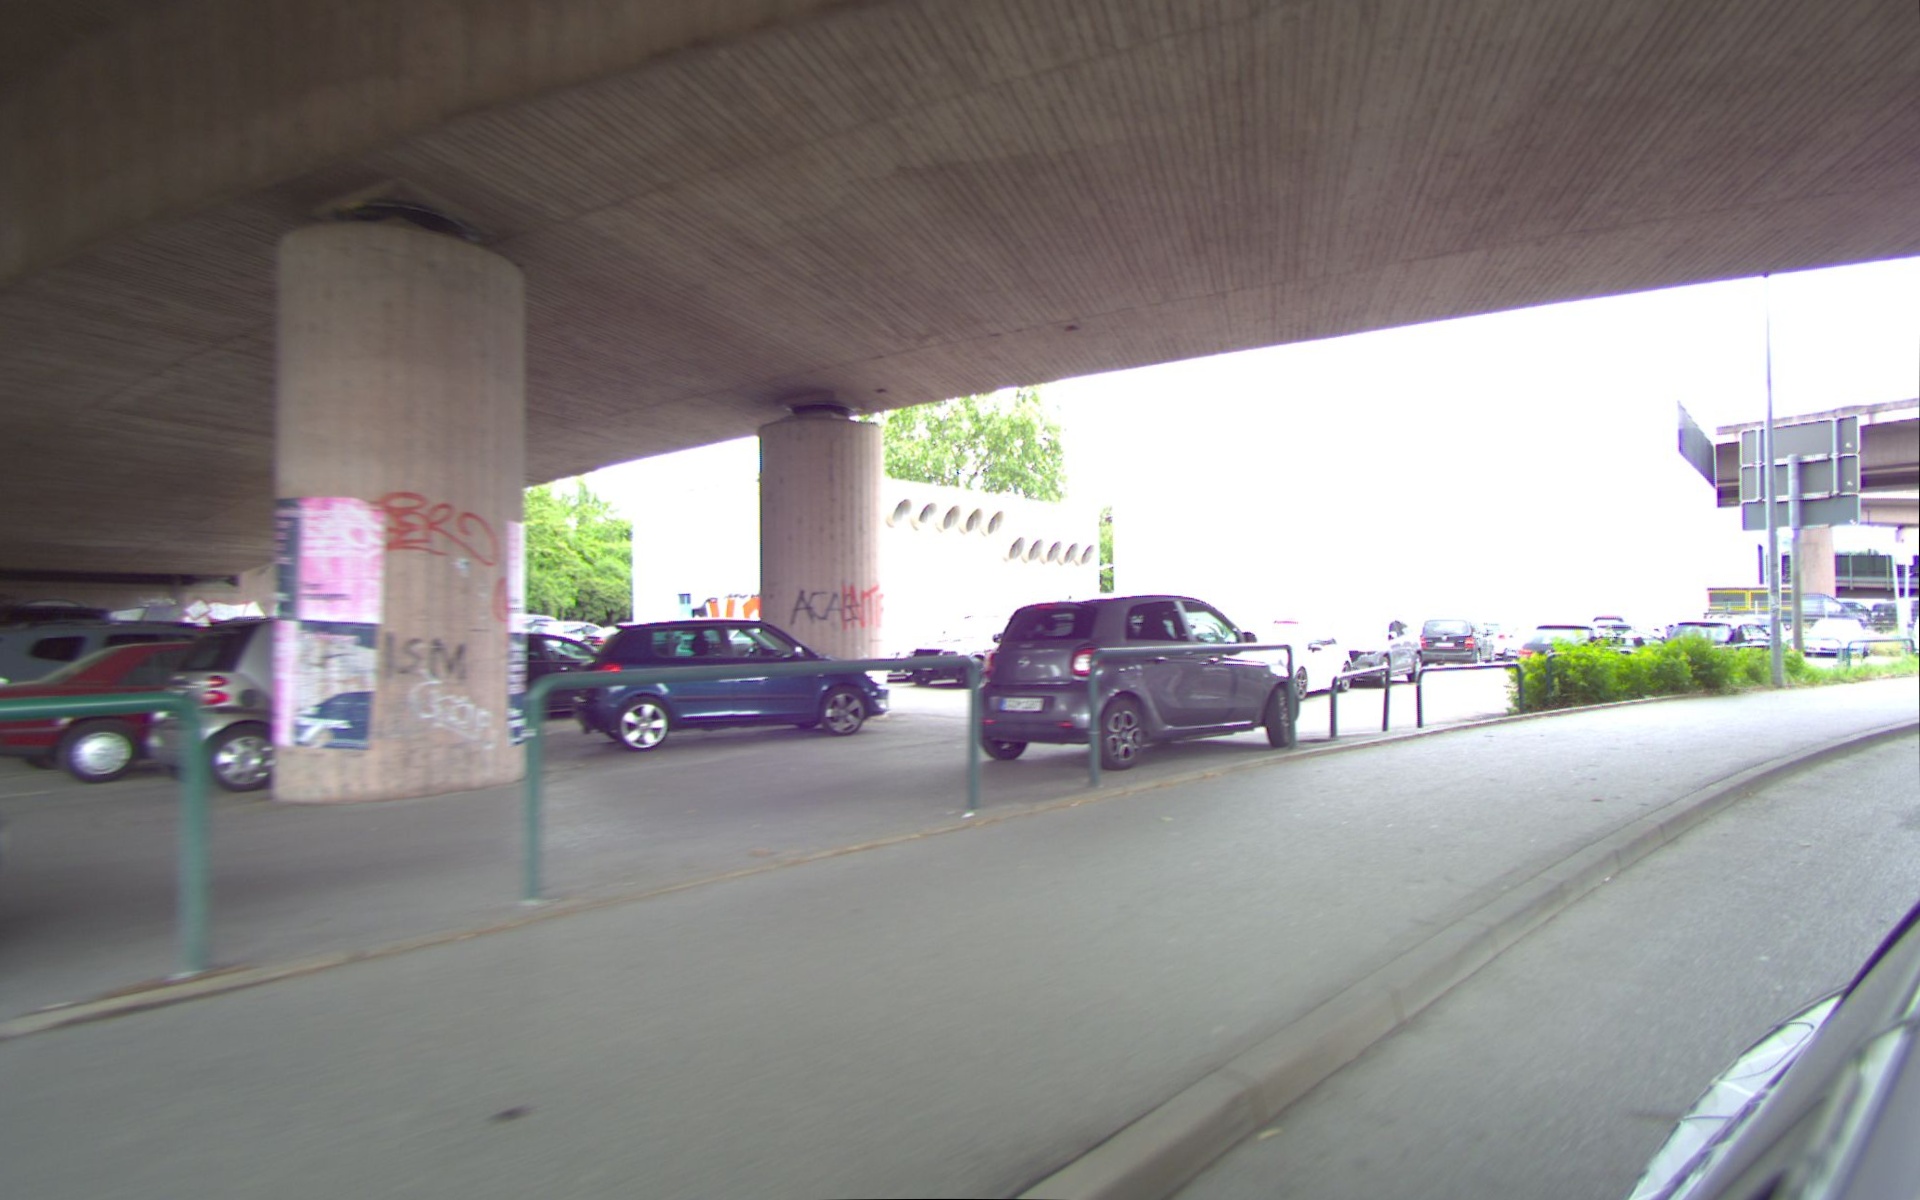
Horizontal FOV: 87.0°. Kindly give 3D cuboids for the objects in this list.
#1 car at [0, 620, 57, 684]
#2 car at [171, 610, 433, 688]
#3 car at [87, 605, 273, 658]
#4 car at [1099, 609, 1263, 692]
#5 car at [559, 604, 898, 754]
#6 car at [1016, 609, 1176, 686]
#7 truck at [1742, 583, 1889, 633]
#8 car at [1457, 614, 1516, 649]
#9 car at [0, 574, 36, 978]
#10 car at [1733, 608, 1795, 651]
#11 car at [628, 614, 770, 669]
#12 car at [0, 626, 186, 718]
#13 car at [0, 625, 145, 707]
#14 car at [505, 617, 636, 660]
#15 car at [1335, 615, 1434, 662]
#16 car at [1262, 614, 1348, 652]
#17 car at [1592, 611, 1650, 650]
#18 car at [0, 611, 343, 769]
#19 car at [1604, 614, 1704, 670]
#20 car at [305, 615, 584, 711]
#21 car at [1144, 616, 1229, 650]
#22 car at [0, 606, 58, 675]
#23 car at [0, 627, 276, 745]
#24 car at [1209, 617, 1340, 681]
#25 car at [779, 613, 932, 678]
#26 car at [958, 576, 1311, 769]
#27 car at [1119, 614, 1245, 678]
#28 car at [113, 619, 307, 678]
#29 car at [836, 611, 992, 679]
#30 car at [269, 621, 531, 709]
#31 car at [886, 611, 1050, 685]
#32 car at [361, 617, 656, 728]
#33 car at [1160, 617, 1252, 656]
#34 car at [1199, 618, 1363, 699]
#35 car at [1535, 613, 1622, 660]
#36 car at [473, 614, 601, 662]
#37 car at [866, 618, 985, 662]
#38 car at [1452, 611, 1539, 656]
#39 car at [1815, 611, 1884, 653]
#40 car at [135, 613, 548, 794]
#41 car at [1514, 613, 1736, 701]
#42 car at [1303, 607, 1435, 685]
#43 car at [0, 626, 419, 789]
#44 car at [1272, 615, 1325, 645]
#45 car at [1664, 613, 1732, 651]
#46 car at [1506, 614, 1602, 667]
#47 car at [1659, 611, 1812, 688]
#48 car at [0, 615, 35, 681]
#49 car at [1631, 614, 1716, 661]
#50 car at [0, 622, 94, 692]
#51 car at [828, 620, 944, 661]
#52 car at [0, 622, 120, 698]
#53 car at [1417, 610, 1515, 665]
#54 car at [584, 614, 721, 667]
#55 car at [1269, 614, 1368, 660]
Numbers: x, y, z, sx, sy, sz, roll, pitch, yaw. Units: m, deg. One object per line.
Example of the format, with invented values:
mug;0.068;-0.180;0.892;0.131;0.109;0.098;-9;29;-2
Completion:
car;-23.019;1.207;22.925;1.670;1.445;3.611;-1;-1;39
car;-15.986;1.108;24.846;2.080;1.699;5.034;-1;-1;39
car;-23.287;0.893;30.351;1.829;1.484;4.133;-1;-1;39
car;4.849;1.003;21.839;1.829;1.613;4.133;-1;-1;39
car;-2.885;0.886;12.671;3.781;1.526;1.793;-2;-1;-28
car;3.232;1.026;23.528;1.829;1.613;4.133;-1;-1;39
truck;54.211;0.536;64.267;3.001;2.970;6.910;1;-2;-45
car;24.066;1.396;46.206;1.765;1.475;4.304;-1;0;36
car;-5.211;0.646;3.039;3.517;1.415;1.608;0;-3;-41
car;32.340;1.150;40.669;1.768;1.608;4.296;-1;-1;41
car;-8.272;1.272;32.356;1.829;1.613;4.133;-1;-1;39
car;-15.828;1.194;17.305;1.829;1.445;3.807;-1;-1;39
car;-17.874;1.213;18.925;1.829;1.445;3.807;-1;-1;39
car;-14.182;1.366;37.039;1.829;1.427;4.133;-1;-1;39
car;14.333;1.246;34.006;1.849;1.462;4.554;-1;-1;39
car;14.204;1.324;41.547;1.831;1.444;4.375;-1;-1;41
car;28.494;1.280;43.607;1.617;1.564;3.050;-1;-1;42
car;-10.292;1.009;12.876;1.829;1.720;3.807;-1;-1;39
car;20.368;1.162;29.626;1.850;1.494;4.616;-1;-1;41
car;-9.149;1.031;18.251;1.829;1.484;4.133;-1;-1;39
car;10.120;1.429;45.036;1.831;1.444;4.375;-1;-1;41
car;-26.238;1.067;26.542;1.874;1.811;3.611;-1;-1;39
car;-12.166;1.134;14.301;1.829;1.445;3.807;-1;-1;39
car;8.196;1.201;26.102;1.747;1.467;4.396;-1;-1;39
car;-2.804;1.187;27.850;1.829;1.613;4.133;-1;-1;39
car;1.786;0.620;9.893;3.350;1.553;1.608;0;-3;-41
car;6.084;1.173;27.454;1.748;1.577;4.030;-1;-1;39
car;-21.278;1.320;28.855;1.829;1.484;4.133;-1;-1;39
car;-1.123;1.099;26.419;1.829;1.613;4.133;-1;-1;39
car;-10.860;1.177;19.873;1.829;1.484;4.133;-1;-1;39
car;0.282;1.082;24.588;1.829;1.613;4.133;-1;-1;39
car;-7.361;1.092;16.851;1.829;1.570;4.133;-1;-1;39
car;9.548;1.375;39.085;1.776;1.410;4.372;-1;-1;39
car;6.617;1.104;20.622;1.829;1.439;4.133;-1;-1;39
car;21.607;1.219;35.273;1.831;1.533;4.433;-1;-1;41
car;-16.008;1.395;38.436;1.829;1.710;4.133;-1;-1;39
car;-1.088;1.291;33.819;1.700;1.322;4.201;-1;-1;39
car;19.717;1.193;37.183;1.831;1.533;4.433;-1;-1;41
car;34.341;1.182;39.022;1.770;1.475;4.482;-1;-1;44
car;-6.213;0.934;10.428;1.522;1.519;3.327;-4;-3;39
car;12.853;1.021;19.522;4.163;1.498;1.737;0;-1;-27
car;9.855;1.023;24.221;1.736;1.696;4.407;-1;-1;39
car;-8.725;1.089;11.394;1.831;1.489;4.311;-3;-2;43
car;17.629;1.530;52.573;1.488;1.478;4.011;-1;-1;36
car;30.107;1.259;41.245;1.769;1.401;4.294;-1;-1;42
car;18.359;1.186;31.175;1.849;1.494;4.620;-1;-1;39
car;16.390;1.004;21.405;2.704;1.498;1.546;0;-1;-27
car;-24.782;1.176;24.278;1.670;1.619;3.611;-1;-1;39
car;23.775;1.198;33.675;1.831;1.444;4.375;-1;-1;41
car;-20.913;1.210;21.491;1.670;1.445;3.611;-1;-1;39
car;-2.528;1.376;35.455;1.700;1.322;4.201;-1;-1;39
car;-19.362;1.188;20.169;1.670;1.445;3.807;-1;-1;39
car;16.347;1.139;32.601;1.849;1.649;4.554;-1;-1;39
car;-10.238;1.303;33.926;1.829;1.613;4.133;-1;-1;39
car;12.652;1.248;35.521;1.849;1.462;4.554;-1;-1;39
